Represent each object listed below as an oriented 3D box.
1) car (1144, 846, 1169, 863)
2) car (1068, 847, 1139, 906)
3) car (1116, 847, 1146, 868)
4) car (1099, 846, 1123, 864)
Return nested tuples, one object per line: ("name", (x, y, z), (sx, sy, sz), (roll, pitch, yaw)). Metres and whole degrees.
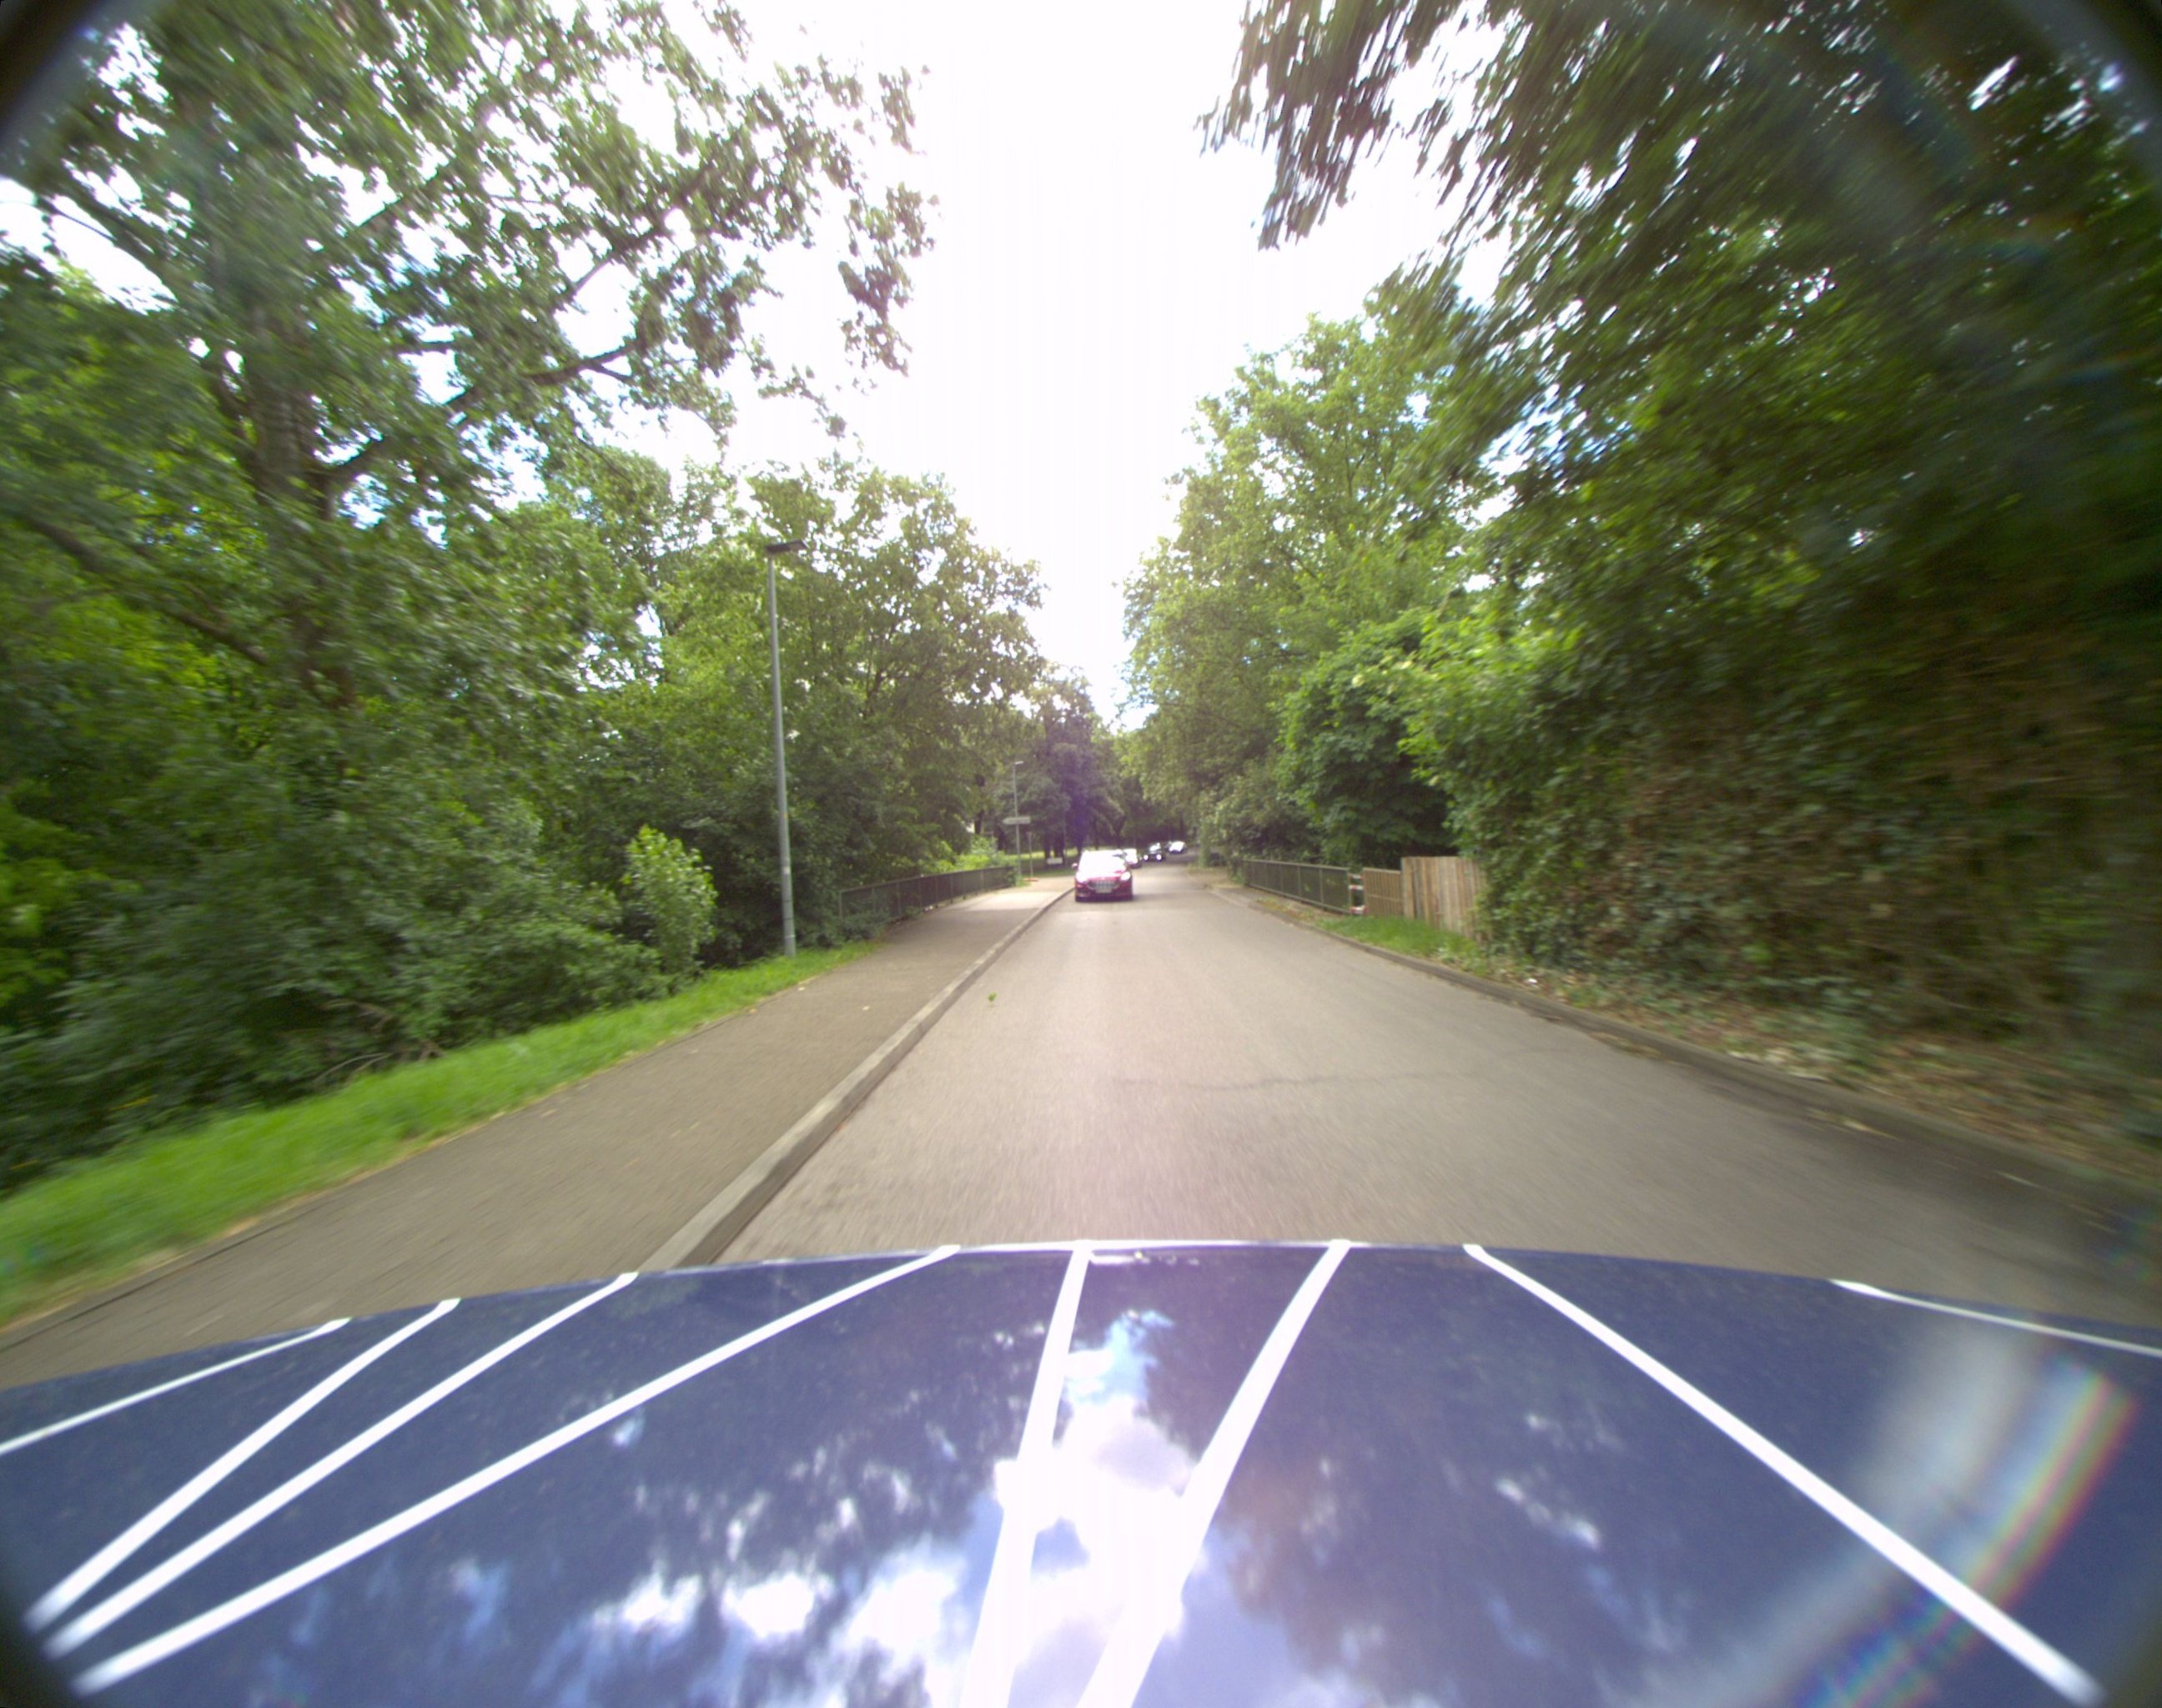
("car", (7.926, -0.007, 79.631), (1.766, 1.559, 4.050), (-3, 1, 18))
("car", (0.847, 0.642, 24.797), (2.003, 1.599, 4.678), (-3, 1, 5))
("car", (4.247, 0.246, 63.823), (1.653, 1.559, 4.049), (-3, 1, 16))
("car", (2.845, 0.100, 71.516), (1.777, 1.514, 3.782), (-3, 1, 7))
